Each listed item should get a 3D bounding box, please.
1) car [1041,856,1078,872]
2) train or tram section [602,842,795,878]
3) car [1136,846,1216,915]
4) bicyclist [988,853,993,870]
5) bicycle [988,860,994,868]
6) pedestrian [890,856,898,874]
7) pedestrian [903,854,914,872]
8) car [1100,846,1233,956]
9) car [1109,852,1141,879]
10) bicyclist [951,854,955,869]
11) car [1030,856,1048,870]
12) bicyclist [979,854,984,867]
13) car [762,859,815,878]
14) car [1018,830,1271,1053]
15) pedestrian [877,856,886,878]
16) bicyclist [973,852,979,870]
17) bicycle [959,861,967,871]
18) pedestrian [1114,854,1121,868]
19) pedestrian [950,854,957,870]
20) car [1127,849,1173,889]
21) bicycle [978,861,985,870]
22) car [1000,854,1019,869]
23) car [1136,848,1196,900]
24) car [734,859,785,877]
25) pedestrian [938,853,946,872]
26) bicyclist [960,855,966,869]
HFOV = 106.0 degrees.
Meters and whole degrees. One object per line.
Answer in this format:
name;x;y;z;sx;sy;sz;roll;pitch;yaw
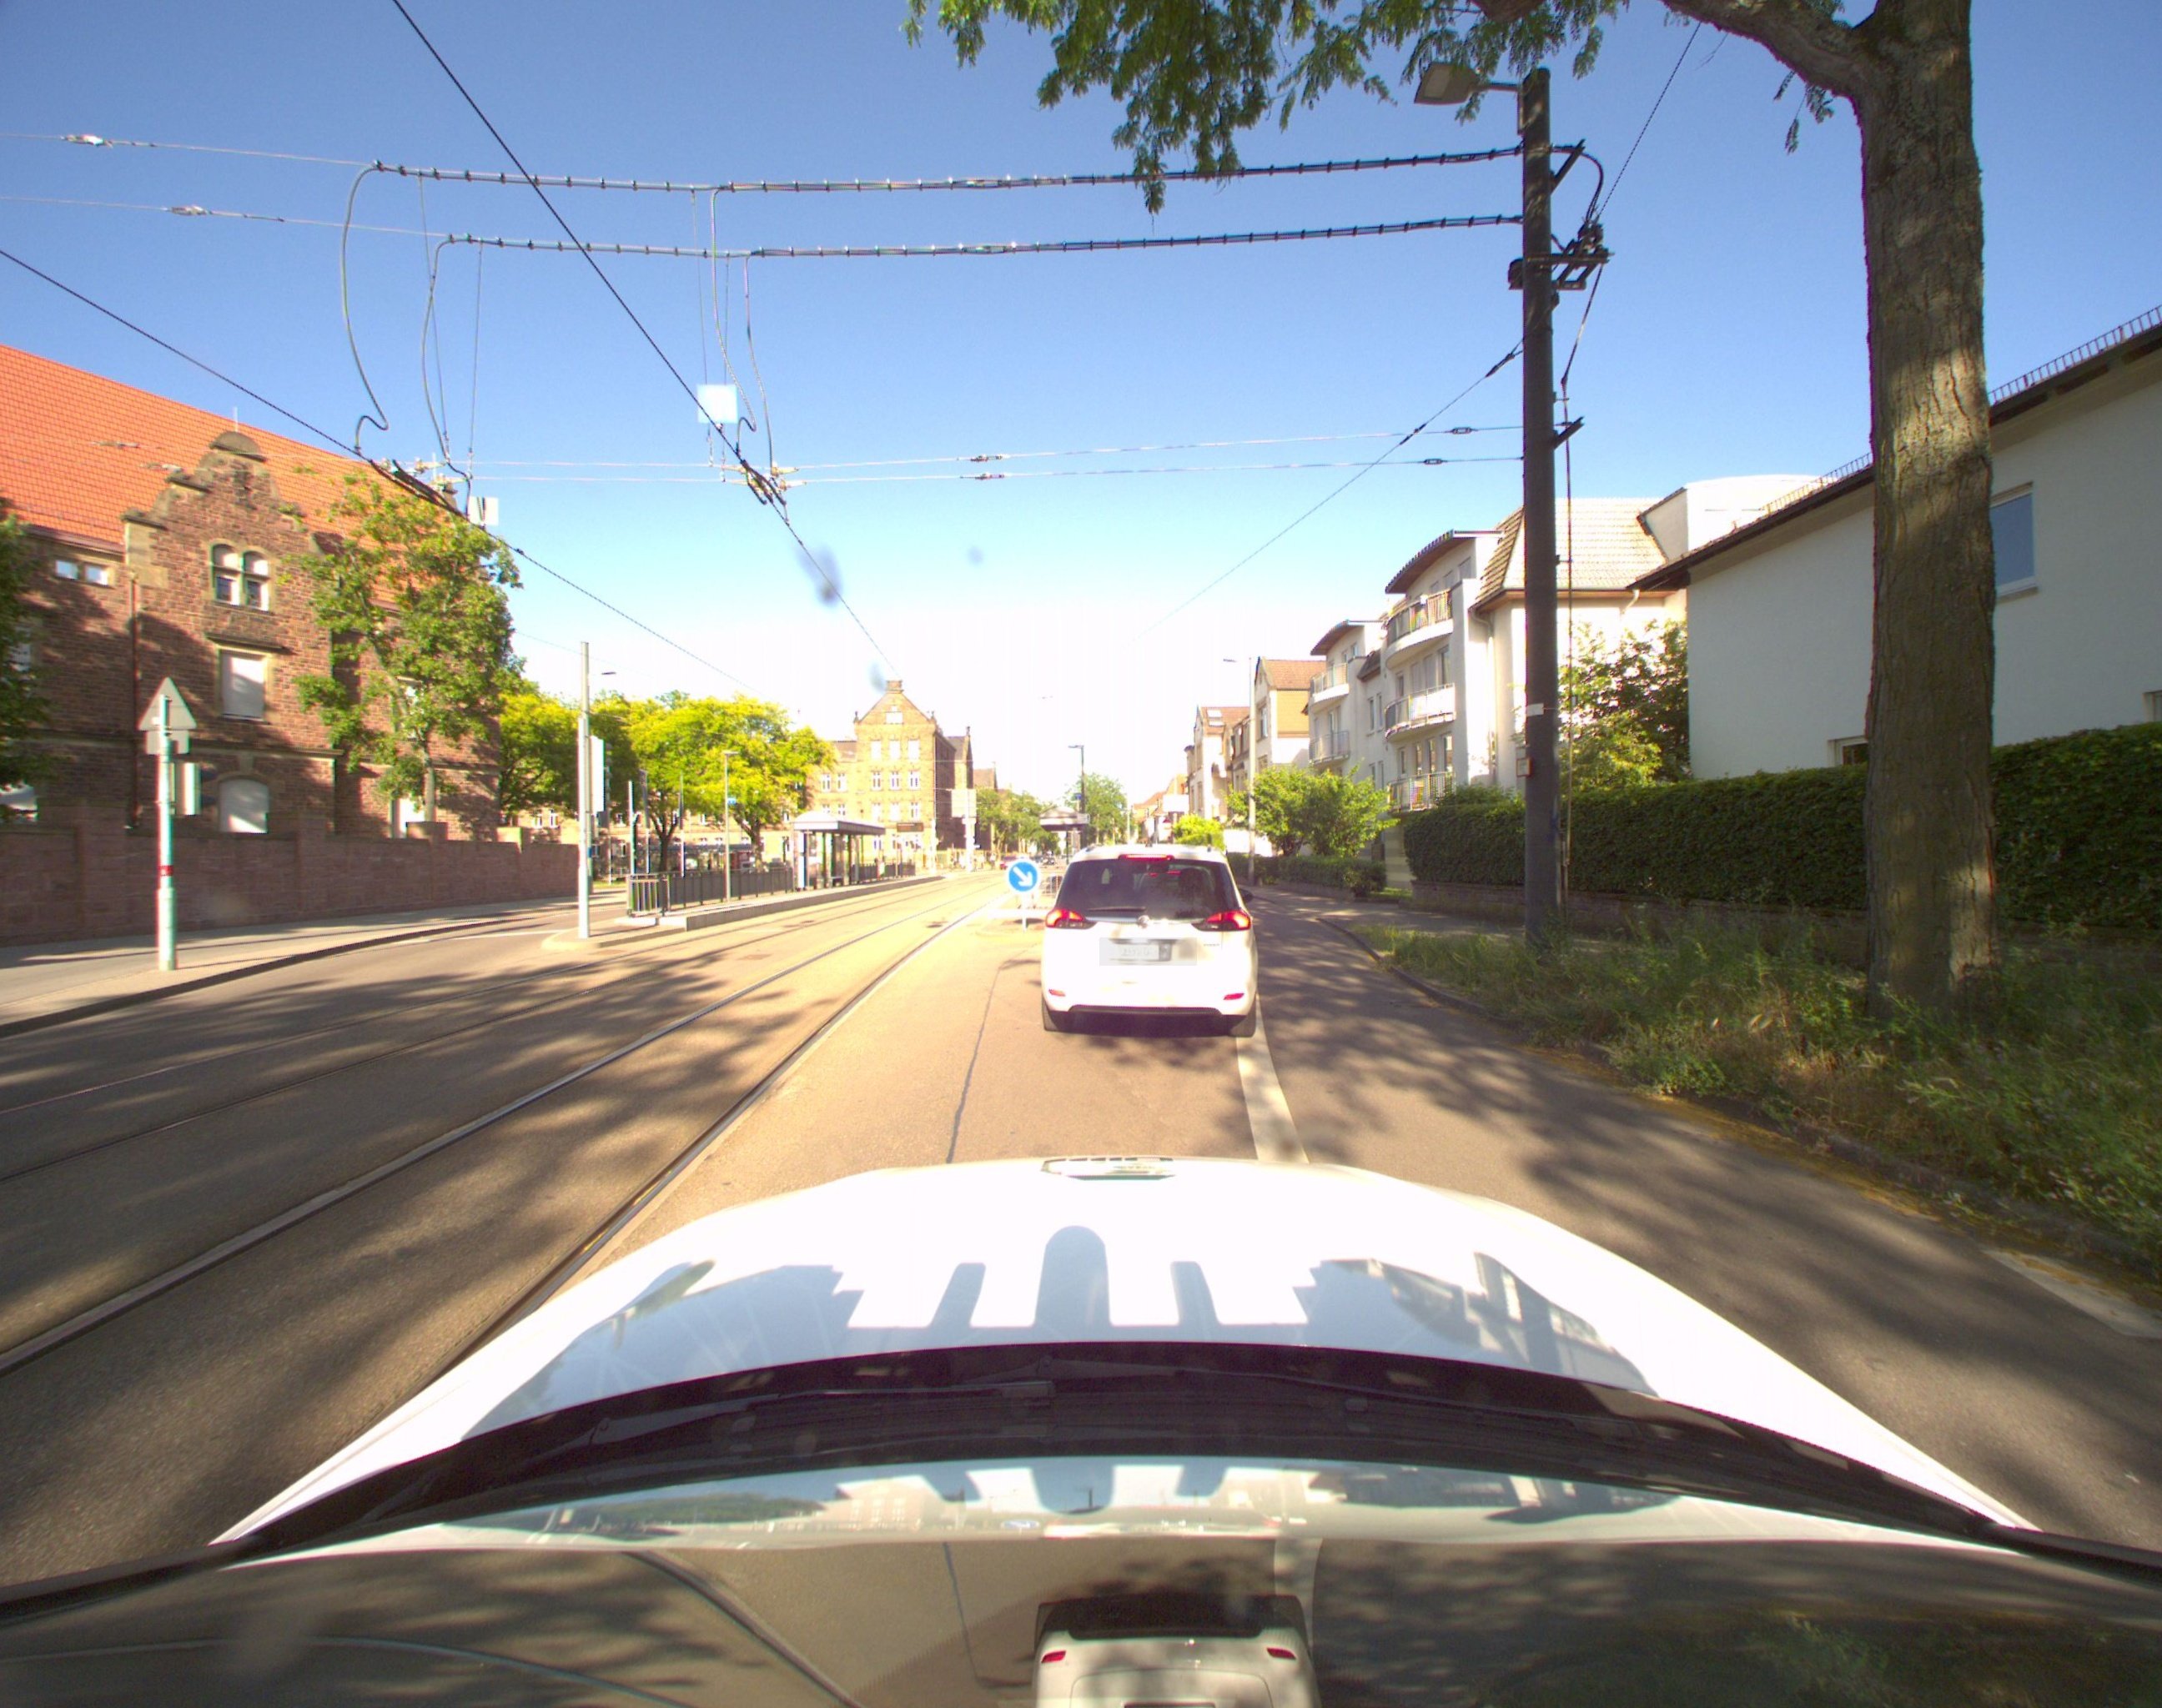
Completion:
car;-2.385;1.050;89.295;3.949;1.716;1.763;-1;-1;40
train or tram section;-37.851;0.570;81.127;17.346;3.154;3.344;-1;-1;-3
car;2.618;0.639;21.674;1.896;1.624;4.010;-1;0;9
bicyclist;-10.652;0.855;96.241;0.486;2.014;0.502;0;-1;1
bicycle;-10.640;1.158;96.237;0.485;0.971;1.406;0;-1;2
pedestrian;-18.478;1.102;80.552;0.768;1.774;0.717;0;-1;-15
pedestrian;-18.281;1.002;86.312;0.802;1.901;0.747;-1;-1;16
car;1.558;0.689;13.852;1.896;1.597;4.010;-1;0;9
car;2.837;0.751;53.167;1.901;1.661;4.000;-1;0;0
bicyclist;-13.057;0.764;82.932;0.312;1.444;0.384;0;-1;1
car;-5.117;1.060;98.505;1.746;1.716;3.988;0;-1;-8
bicyclist;-11.788;0.768;96.317;0.529;1.477;0.572;0;-1;1
car;-25.452;1.234;70.953;3.976;1.630;1.817;0;-1;-2
car;0.778;0.665;8.178;1.896;1.661;4.010;-1;0;9
pedestrian;-18.468;1.192;75.485;0.795;2.014;1.042;0;-1;-12
bicyclist;-11.659;0.759;90.469;0.496;2.014;0.572;0;-1;1
bicycle;-12.802;1.303;88.464;0.507;1.077;1.739;0;-1;2
pedestrian;4.869;0.958;107.558;0.802;1.901;0.746;-1;-1;12
pedestrian;-15.452;0.984;98.952;0.685;2.014;0.619;0;-1;8
car;2.993;0.618;36.174;1.899;1.661;4.003;-1;0;3
bicycle;-11.767;1.360;96.432;0.507;1.077;1.739;0;-1;2
car;-8.298;0.884;94.440;1.740;1.716;4.001;0;-1;2
car;2.973;0.653;28.330;1.897;1.661;4.007;-1;0;6
car;-29.660;1.310;75.196;3.976;1.630;1.817;0;-1;-2
pedestrian;-14.559;0.864;85.498;0.796;2.014;0.717;0;-1;-15
bicyclist;-12.822;0.896;88.388;0.529;1.477;0.572;0;-1;1
